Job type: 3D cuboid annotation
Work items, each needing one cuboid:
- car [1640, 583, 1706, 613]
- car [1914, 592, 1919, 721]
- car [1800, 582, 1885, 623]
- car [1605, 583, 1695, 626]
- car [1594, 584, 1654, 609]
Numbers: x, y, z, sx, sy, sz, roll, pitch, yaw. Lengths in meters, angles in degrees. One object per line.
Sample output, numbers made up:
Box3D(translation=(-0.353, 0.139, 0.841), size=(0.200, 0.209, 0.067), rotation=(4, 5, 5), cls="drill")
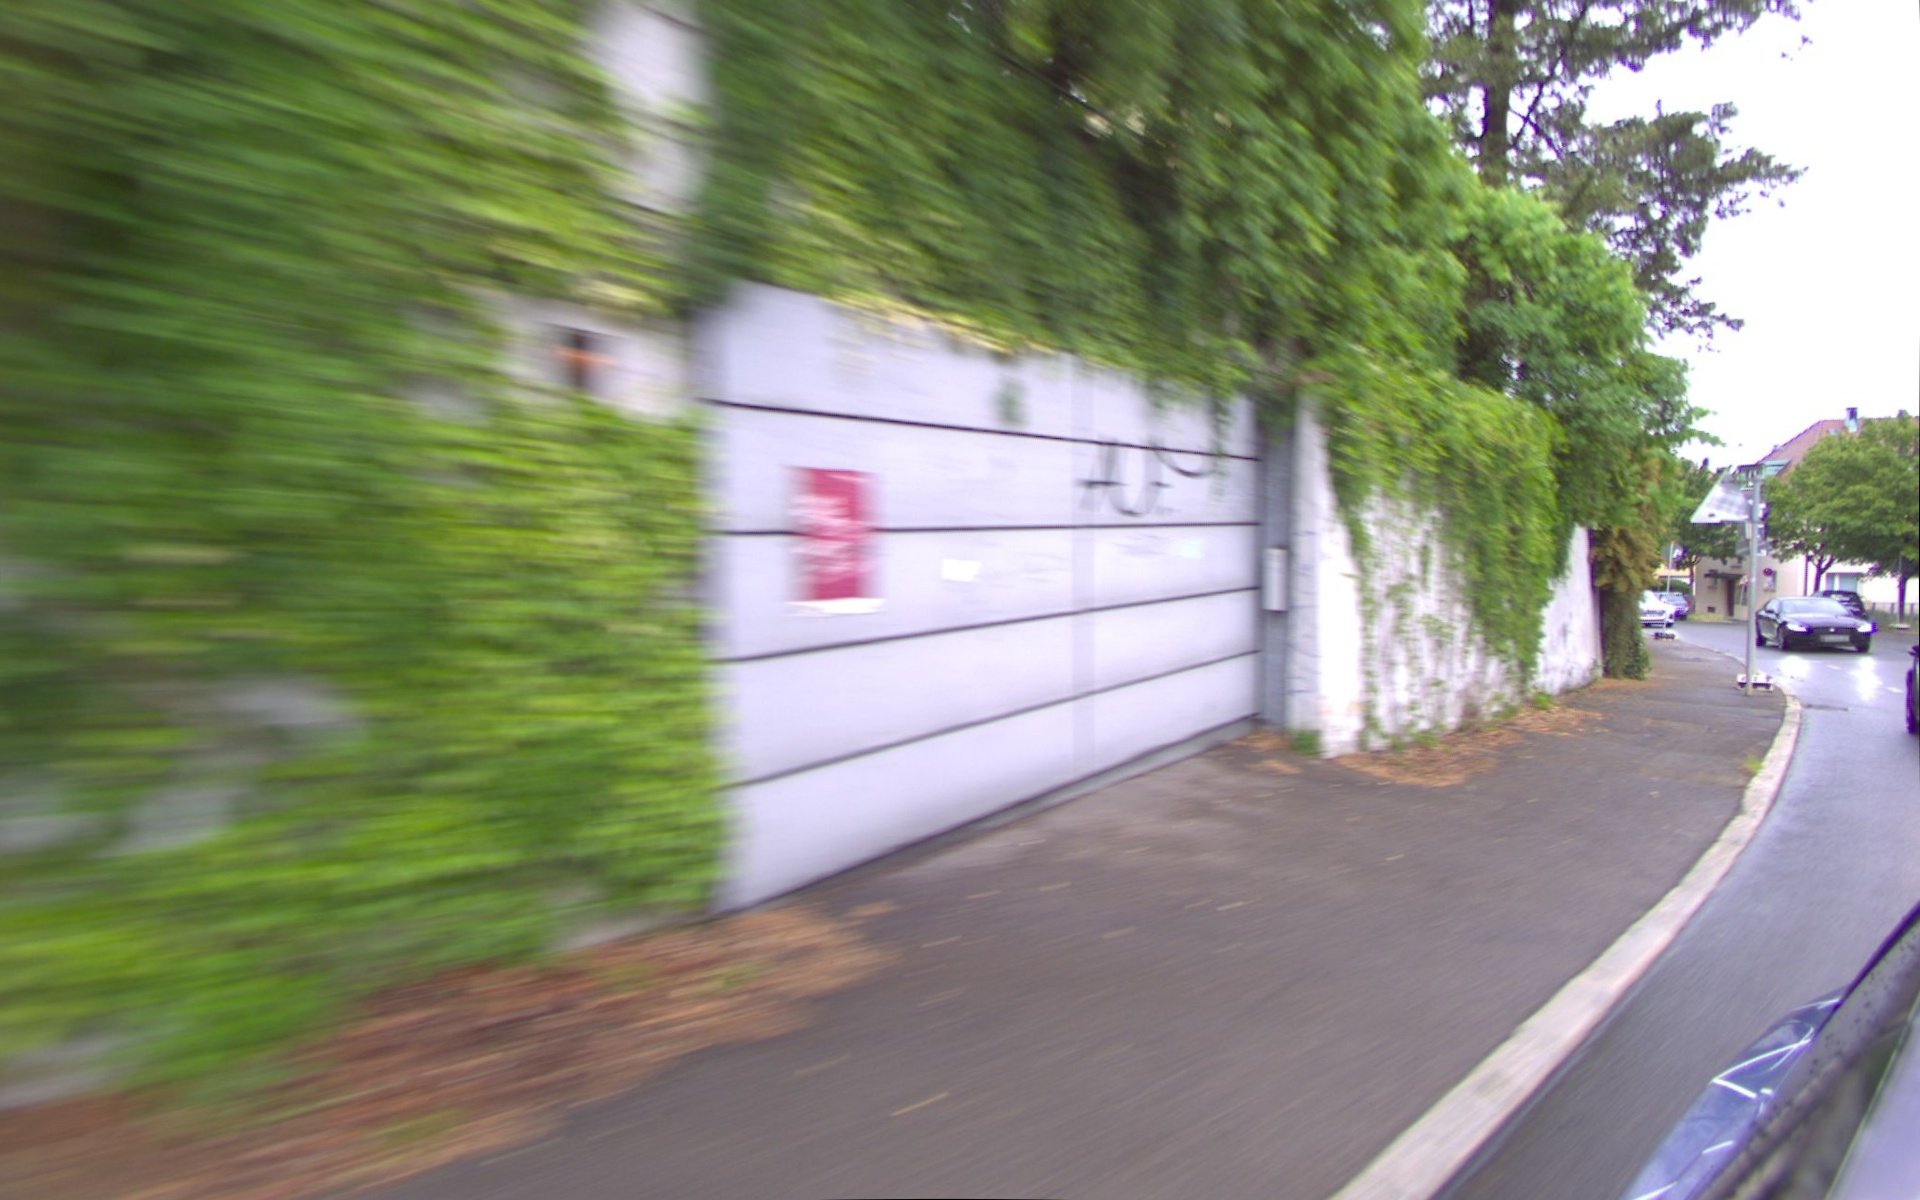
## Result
Box3D(translation=(41.310, -0.160, 58.708), size=(1.698, 1.565, 4.274), rotation=(2, 2, 15), cls="car")
Box3D(translation=(10.784, 0.654, 10.017), size=(1.740, 1.460, 4.295), rotation=(1, 0, 41), cls="car")
Box3D(translation=(35.299, 0.070, 40.557), size=(1.504, 1.554, 3.017), rotation=(2, 1, 20), cls="car")
Box3D(translation=(30.730, 0.152, 45.229), size=(1.992, 1.760, 4.573), rotation=(-2, 0, 17), cls="car")
Box3D(translation=(42.870, -0.249, 65.435), size=(1.801, 1.528, 4.718), rotation=(1, 1, 14), cls="car")
